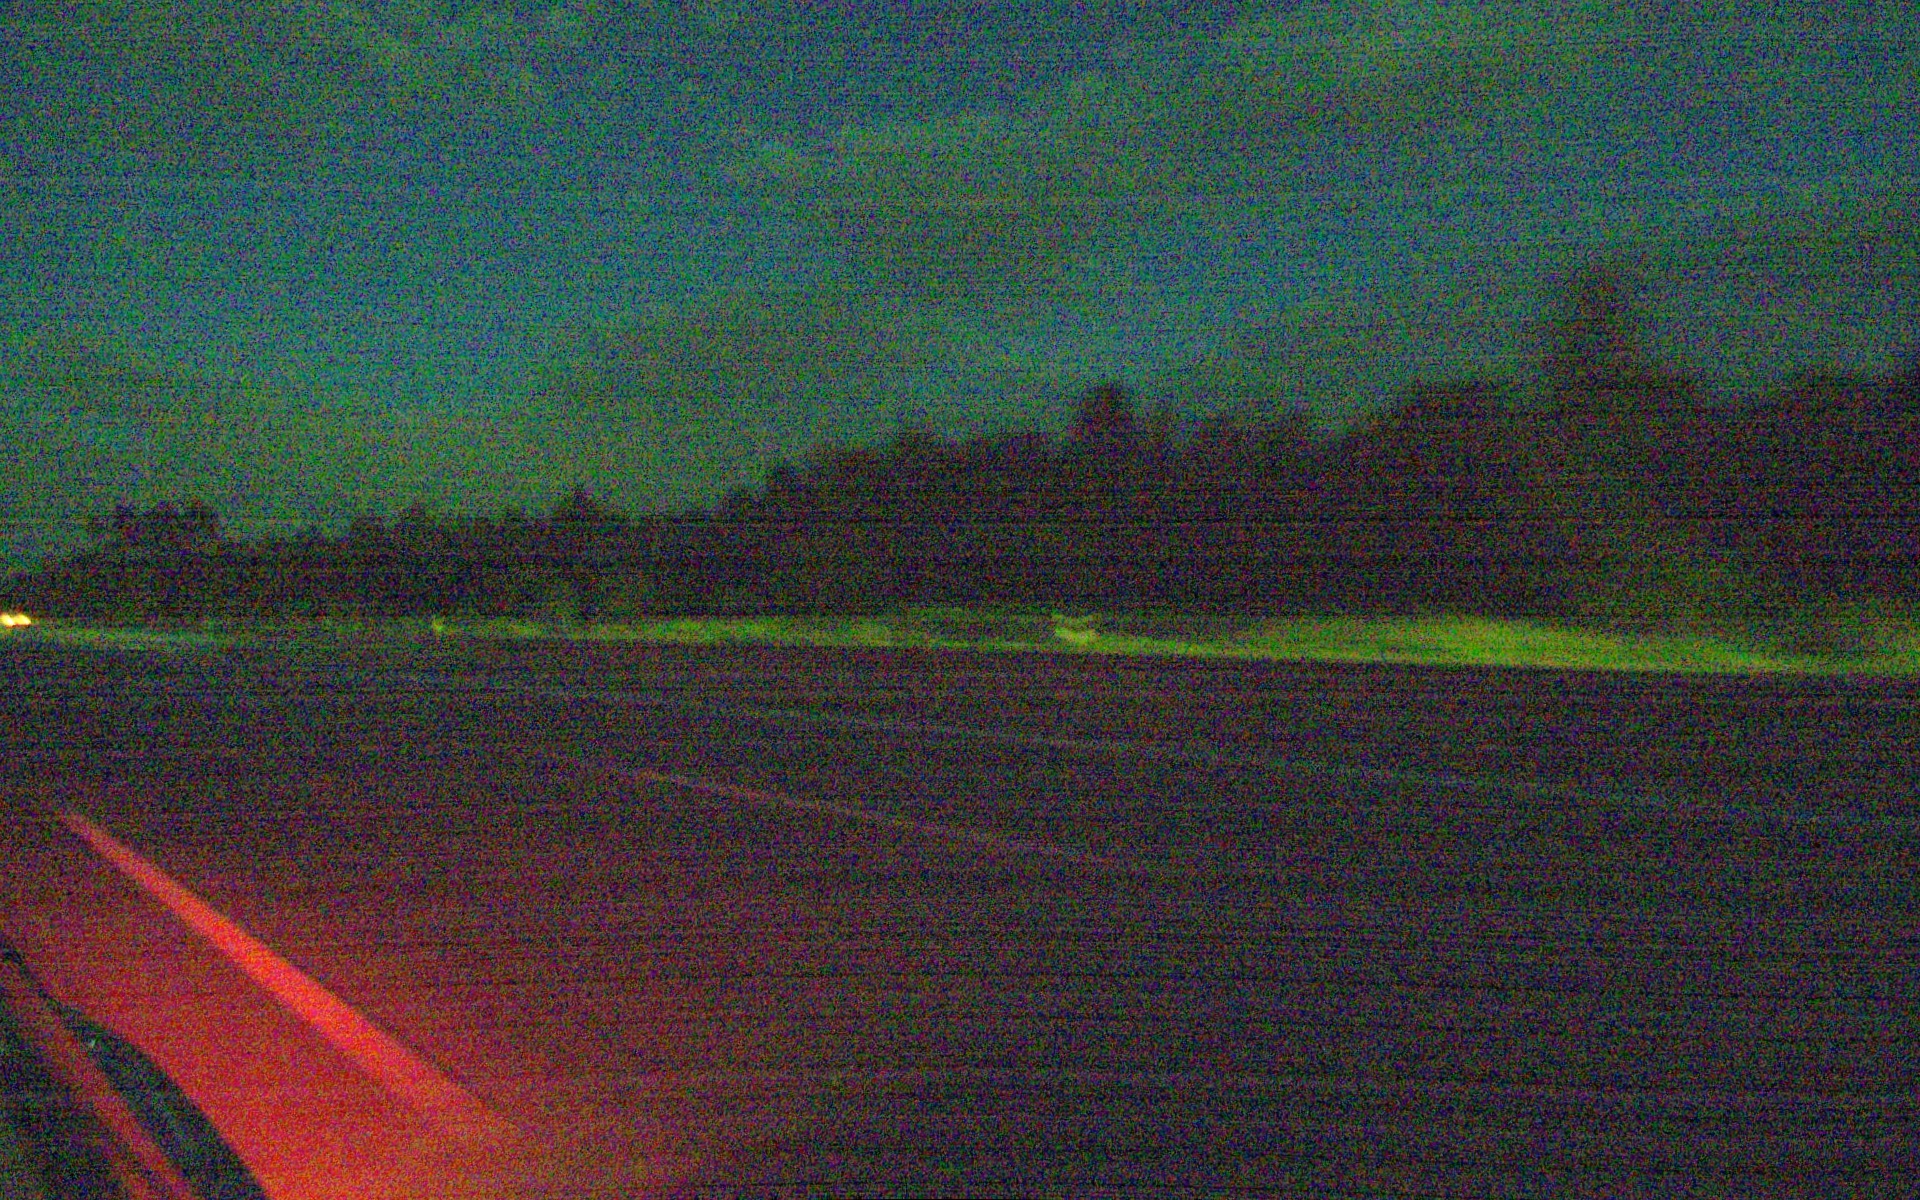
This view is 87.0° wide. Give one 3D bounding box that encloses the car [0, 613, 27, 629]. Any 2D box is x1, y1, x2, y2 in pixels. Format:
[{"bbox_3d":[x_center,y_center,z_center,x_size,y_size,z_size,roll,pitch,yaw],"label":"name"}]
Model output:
[{"bbox_3d":[-120.611,2.660,128.699,5.179,2.029,2.007,-1,-1,38],"label":"car"}]
